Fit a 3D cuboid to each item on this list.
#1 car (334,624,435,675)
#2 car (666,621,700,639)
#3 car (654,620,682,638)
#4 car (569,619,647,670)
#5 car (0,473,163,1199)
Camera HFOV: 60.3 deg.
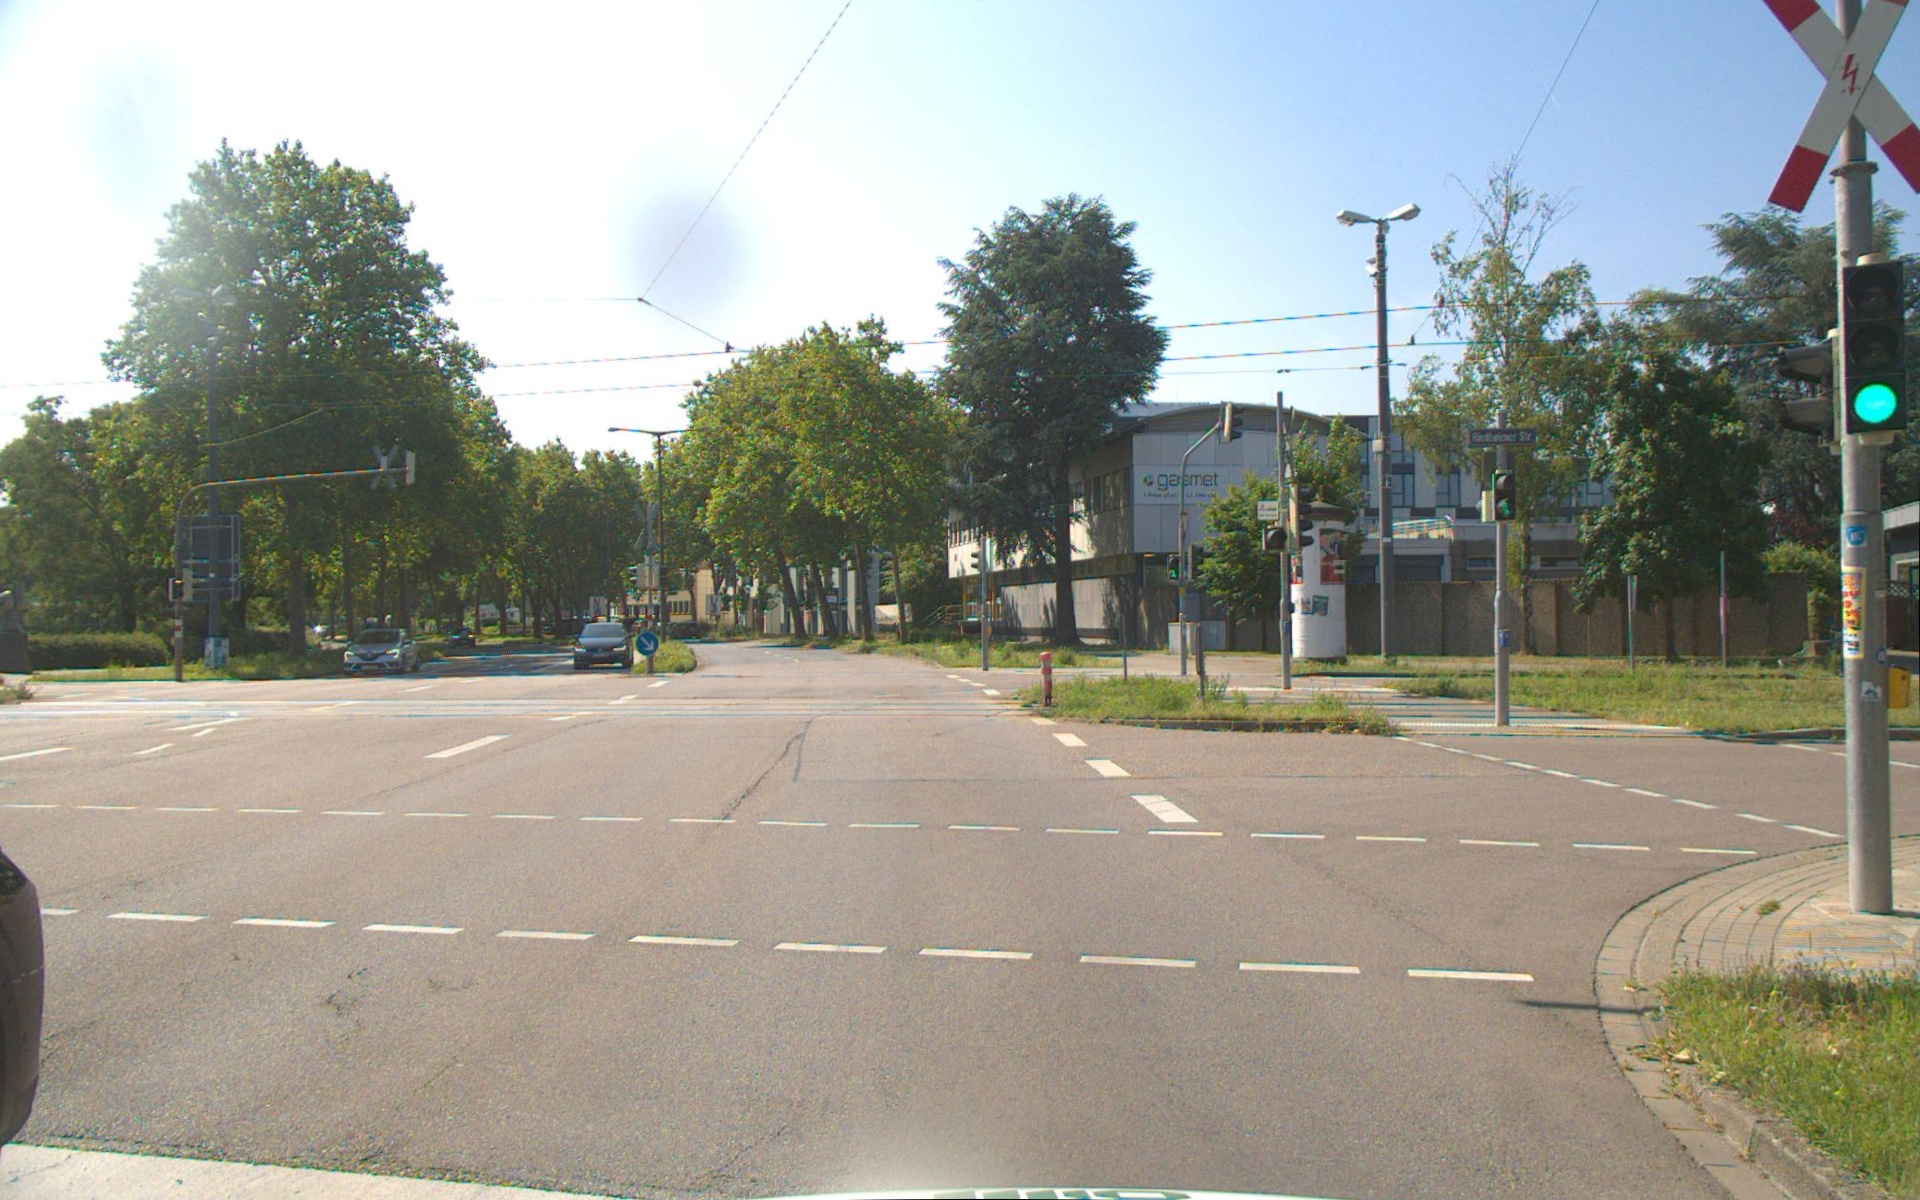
[{"bbox_3d":[-18.456,1.562,53.258,1.659,1.534,4.660,-1,-1,-1],"label":"car"},{"bbox_3d":[-23.908,2.593,142.762,1.685,1.513,4.681,-2,0,-25],"label":"car"},{"bbox_3d":[-26.114,2.578,147.890,1.682,1.514,4.075,-1,0,-21],"label":"car"},{"bbox_3d":[-11.295,1.400,53.322,1.659,1.534,4.128,-1,-1,-1],"label":"car"},{"bbox_3d":[-2.859,0.583,1.830,1.834,1.726,4.434,0,-1,-1],"label":"car"}]
